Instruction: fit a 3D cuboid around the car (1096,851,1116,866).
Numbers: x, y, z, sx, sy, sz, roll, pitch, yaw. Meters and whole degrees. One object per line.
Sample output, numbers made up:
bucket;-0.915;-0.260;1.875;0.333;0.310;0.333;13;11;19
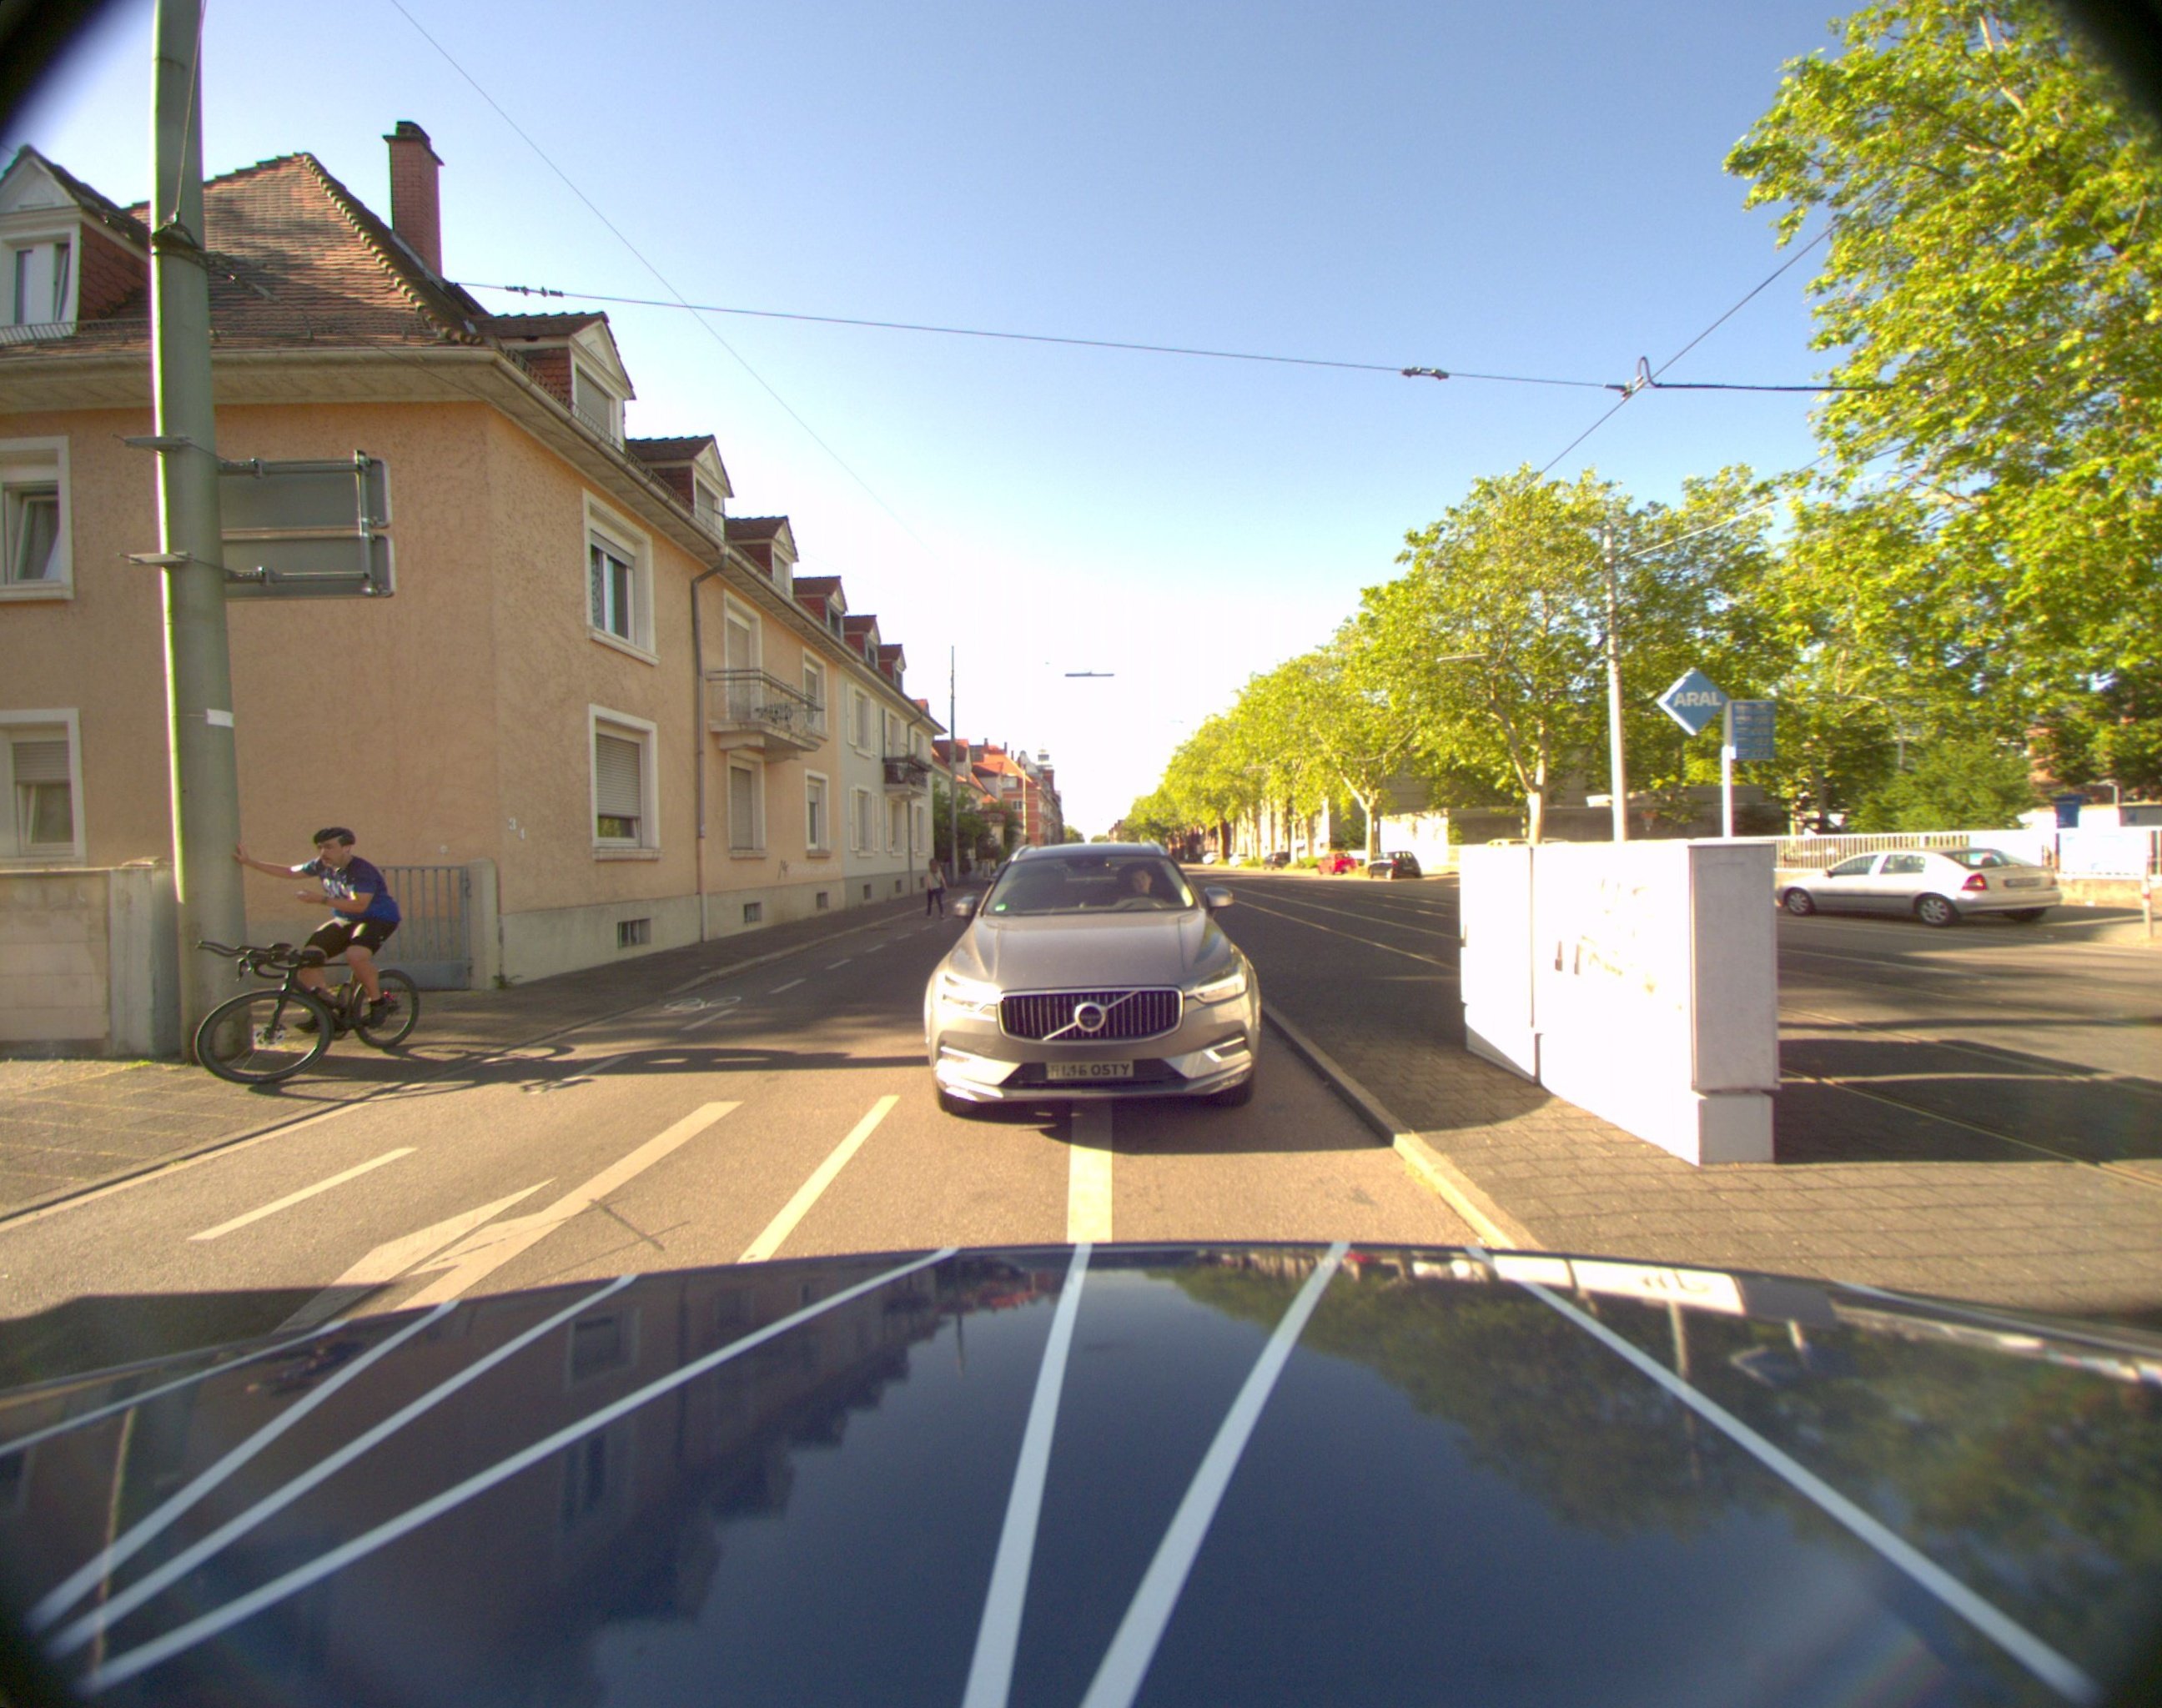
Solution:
car;2.622;0.483;80.547;1.998;1.543;4.000;-1;0;1

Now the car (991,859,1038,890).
car;-3.196;0.969;37.029;1.647;1.357;3.868;-1;0;4

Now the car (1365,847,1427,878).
car;16.897;0.426;40.982;1.826;1.521;3.653;-2;0;1

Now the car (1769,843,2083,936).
car;16.258;0.600;14.993;1.795;1.455;3.966;-4;0;2

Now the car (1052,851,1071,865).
car;-2.186;0.458;85.495;1.875;1.477;4.000;-1;0;1

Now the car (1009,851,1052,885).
car;-2.773;0.721;42.888;1.751;1.767;5.351;-1;0;3

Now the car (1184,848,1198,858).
car;18.216;-0.210;125.631;1.802;1.504;4.000;-1;0;1

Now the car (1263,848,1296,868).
car;17.212;0.292;66.043;1.802;1.652;4.000;-1;0;1

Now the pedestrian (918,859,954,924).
pedestrian;-3.837;0.971;20.225;0.695;1.652;1.098;-2;1;-1

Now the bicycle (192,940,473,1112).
bicycle;-5.930;1.305;6.179;0.572;0.986;1.698;2;0;1

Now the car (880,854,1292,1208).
car;0.054;0.853;5.805;1.940;1.650;4.321;-1;0;1

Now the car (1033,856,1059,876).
car;-2.735;0.951;60.679;1.785;1.468;4.000;-1;0;1

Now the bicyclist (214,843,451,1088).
bicyclist;-6.135;0.864;6.294;1.076;1.854;0.846;2;1;1

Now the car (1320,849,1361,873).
car;16.958;0.440;49.752;1.641;1.499;3.046;-1;0;1

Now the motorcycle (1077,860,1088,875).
motorcycle;0.114;1.023;58.561;0.792;1.095;2.519;0;0;1

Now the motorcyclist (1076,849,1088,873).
motorcyclist;0.112;0.529;58.597;0.827;1.832;1.159;-2;1;1

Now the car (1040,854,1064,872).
car;-2.545;0.774;66.833;1.875;1.477;4.000;-1;0;1

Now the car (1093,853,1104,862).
car;3.153;0.631;138.043;1.998;1.543;4.000;-1;0;1

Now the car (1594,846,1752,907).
car;16.444;0.578;21.342;1.692;1.455;3.519;-4;0;2

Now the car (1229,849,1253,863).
car;17.564;0.229;83.429;1.802;1.489;4.000;-1;0;1

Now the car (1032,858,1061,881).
car;-2.451;1.091;54.443;1.785;1.468;4.000;-1;0;1

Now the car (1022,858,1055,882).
car;-2.668;0.997;48.307;1.785;1.346;4.000;-1;0;1

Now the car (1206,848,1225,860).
car;17.752;-0.002;100.673;1.802;1.504;4.000;-1;0;1
